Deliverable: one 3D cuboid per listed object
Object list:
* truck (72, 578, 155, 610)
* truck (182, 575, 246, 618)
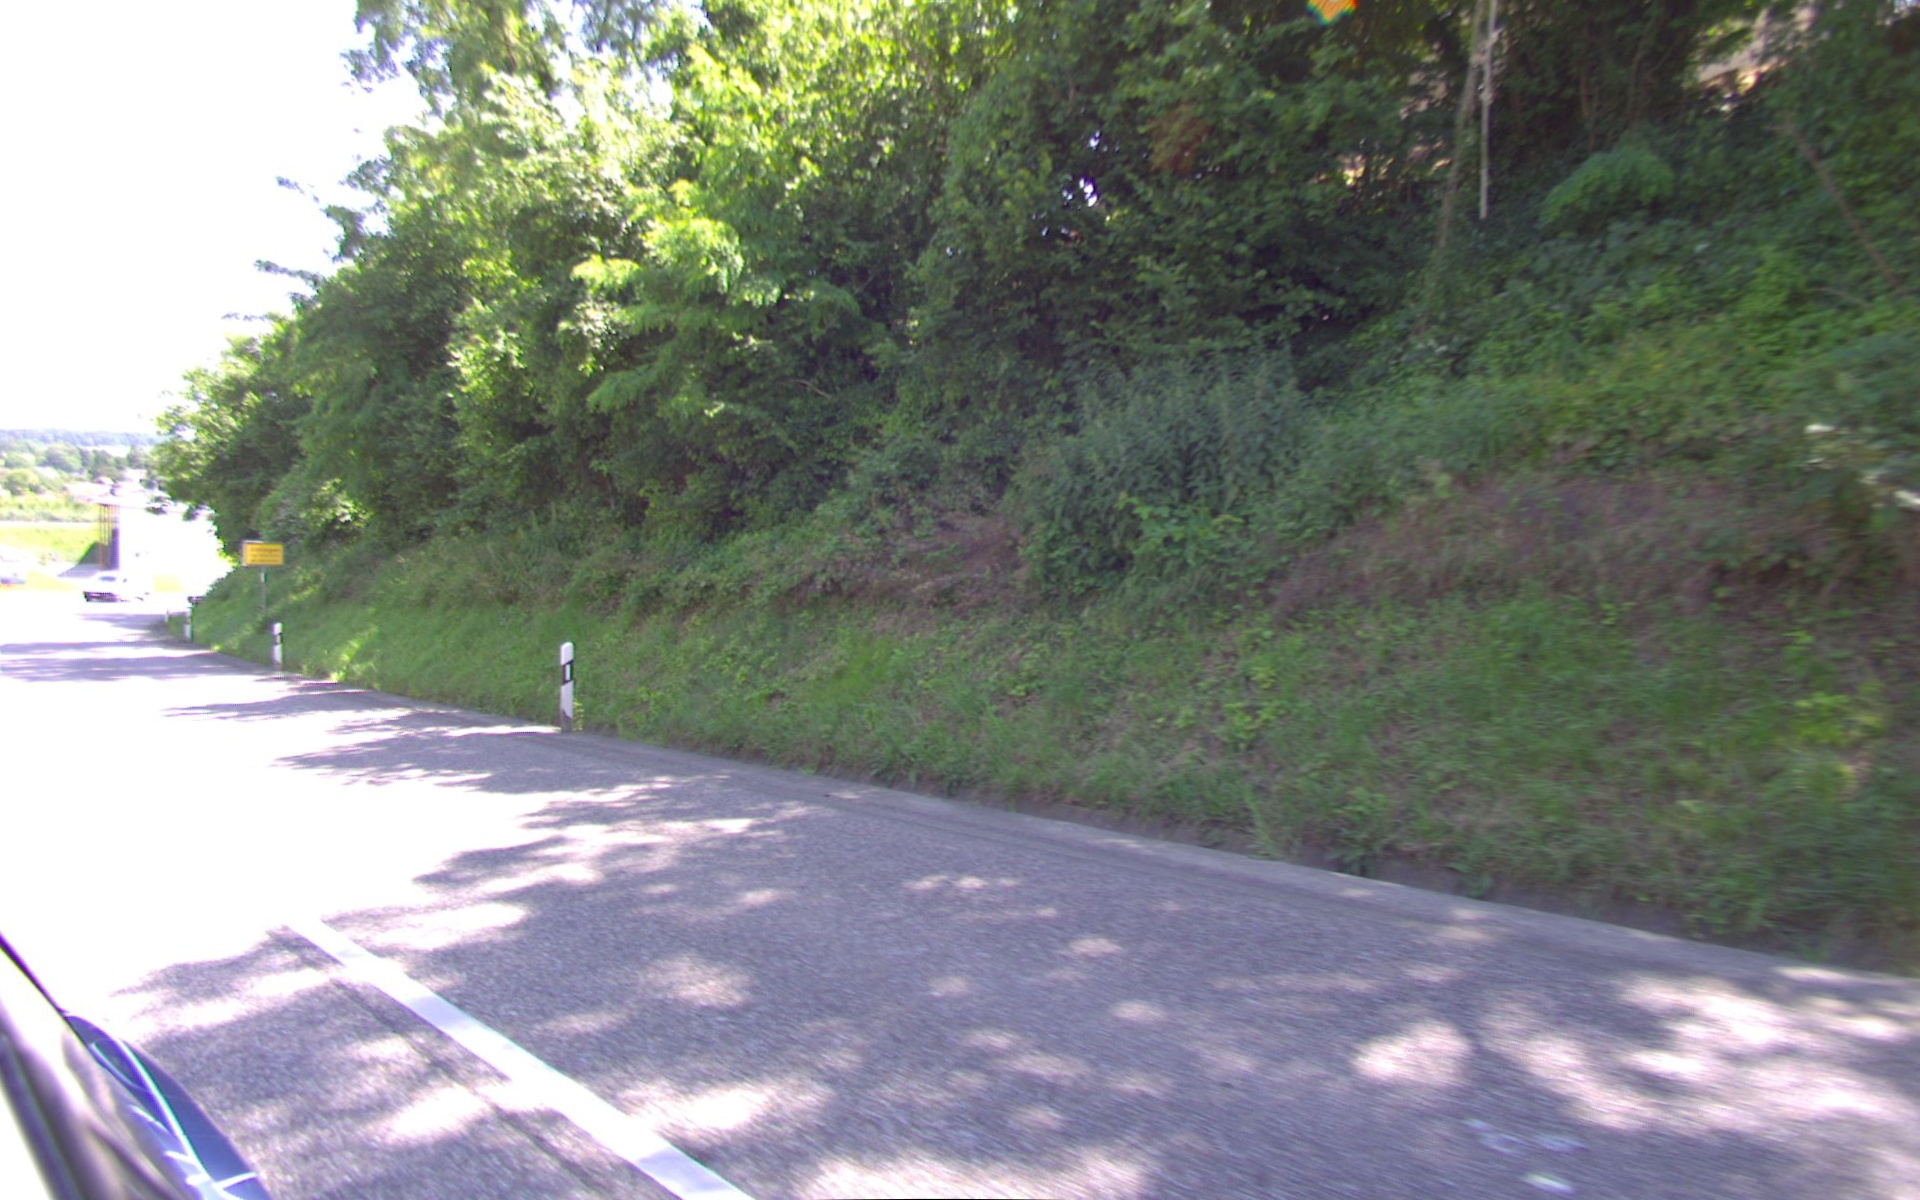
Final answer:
[{"bbox_3d":[-57.889,-0.430,69.346,2.039,2.028,5.256,1,1,-10],"label":"truck"},{"bbox_3d":[-50.978,-0.272,69.271,2.024,2.707,6.001,3,-1,-22],"label":"truck"}]
